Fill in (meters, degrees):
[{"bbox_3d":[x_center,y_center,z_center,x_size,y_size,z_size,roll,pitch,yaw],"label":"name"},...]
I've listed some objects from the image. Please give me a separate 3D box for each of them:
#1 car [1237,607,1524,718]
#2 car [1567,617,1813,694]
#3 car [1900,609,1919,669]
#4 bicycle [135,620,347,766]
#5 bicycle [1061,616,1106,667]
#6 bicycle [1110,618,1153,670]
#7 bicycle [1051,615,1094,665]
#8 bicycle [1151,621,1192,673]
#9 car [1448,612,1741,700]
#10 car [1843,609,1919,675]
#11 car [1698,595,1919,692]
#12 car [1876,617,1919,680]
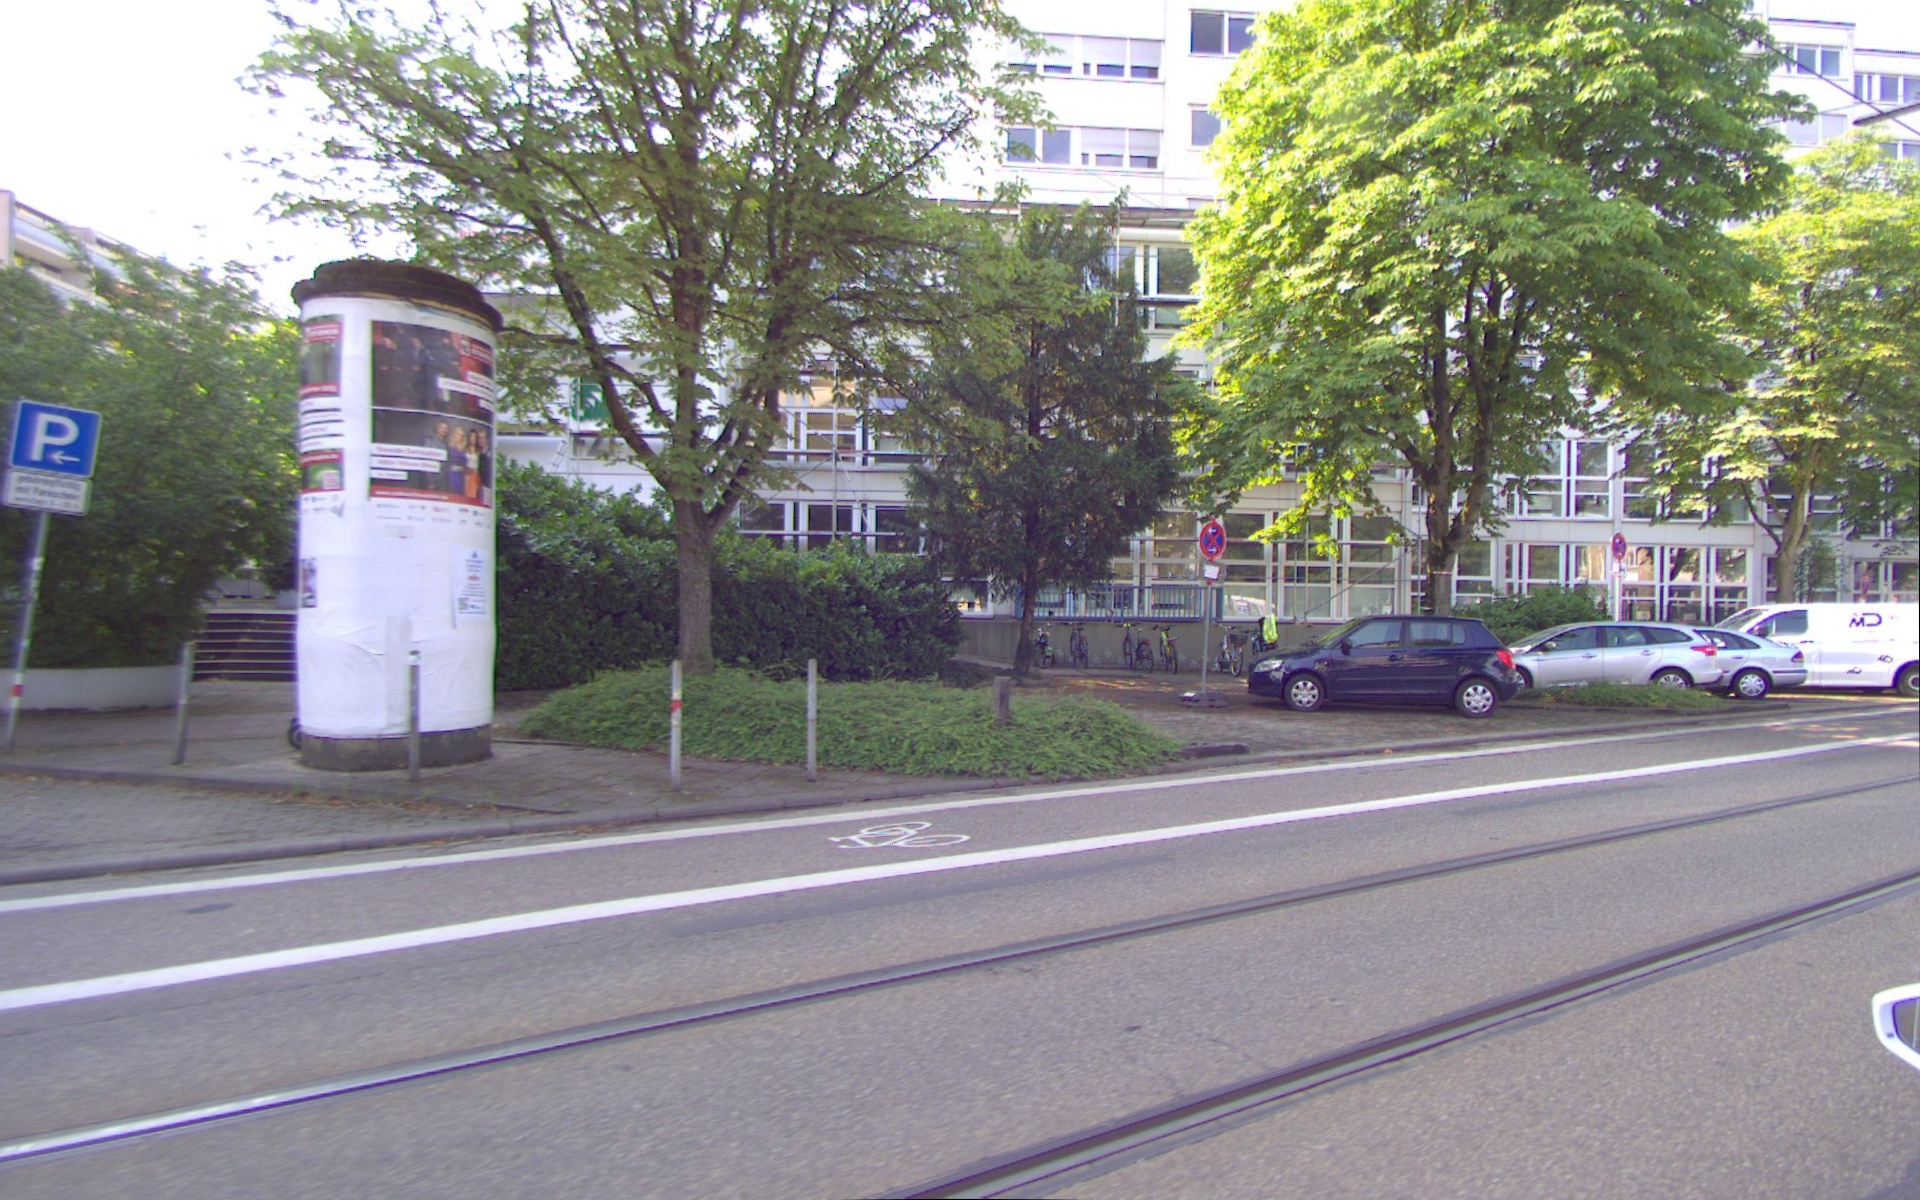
[{"bbox_3d":[6.452,0.908,15.819,3.920,1.482,1.760,2,0,18],"label":"car"},{"bbox_3d":[14.860,1.137,20.683,3.708,1.495,1.726,-1,-2,17],"label":"car"},{"bbox_3d":[29.802,1.188,28.776,3.683,1.735,1.884,2,0,15],"label":"car"},{"bbox_3d":[-6.430,0.780,9.084,0.620,1.170,1.509,2,0,13],"label":"bicycle"},{"bbox_3d":[2.860,0.945,23.505,0.488,1.101,2.053,2,0,-9],"label":"bicycle"},{"bbox_3d":[4.002,1.004,23.504,0.487,1.101,2.055,2,0,-4],"label":"bicycle"},{"bbox_3d":[2.681,0.944,24.046,0.488,1.101,2.053,2,0,-9],"label":"bicycle"},{"bbox_3d":[4.855,1.050,23.166,0.487,1.101,2.056,2,0,0],"label":"bicycle"},{"bbox_3d":[11.942,1.016,19.204,4.371,1.445,1.741,2,-1,13],"label":"car"},{"bbox_3d":[26.730,1.161,27.252,3.683,1.735,1.884,2,0,15],"label":"car"},{"bbox_3d":[19.085,0.928,21.741,4.551,1.937,1.933,-2,-2,19],"label":"car"},{"bbox_3d":[25.252,1.248,24.730,3.563,1.520,1.764,2,-1,12],"label":"car"}]
